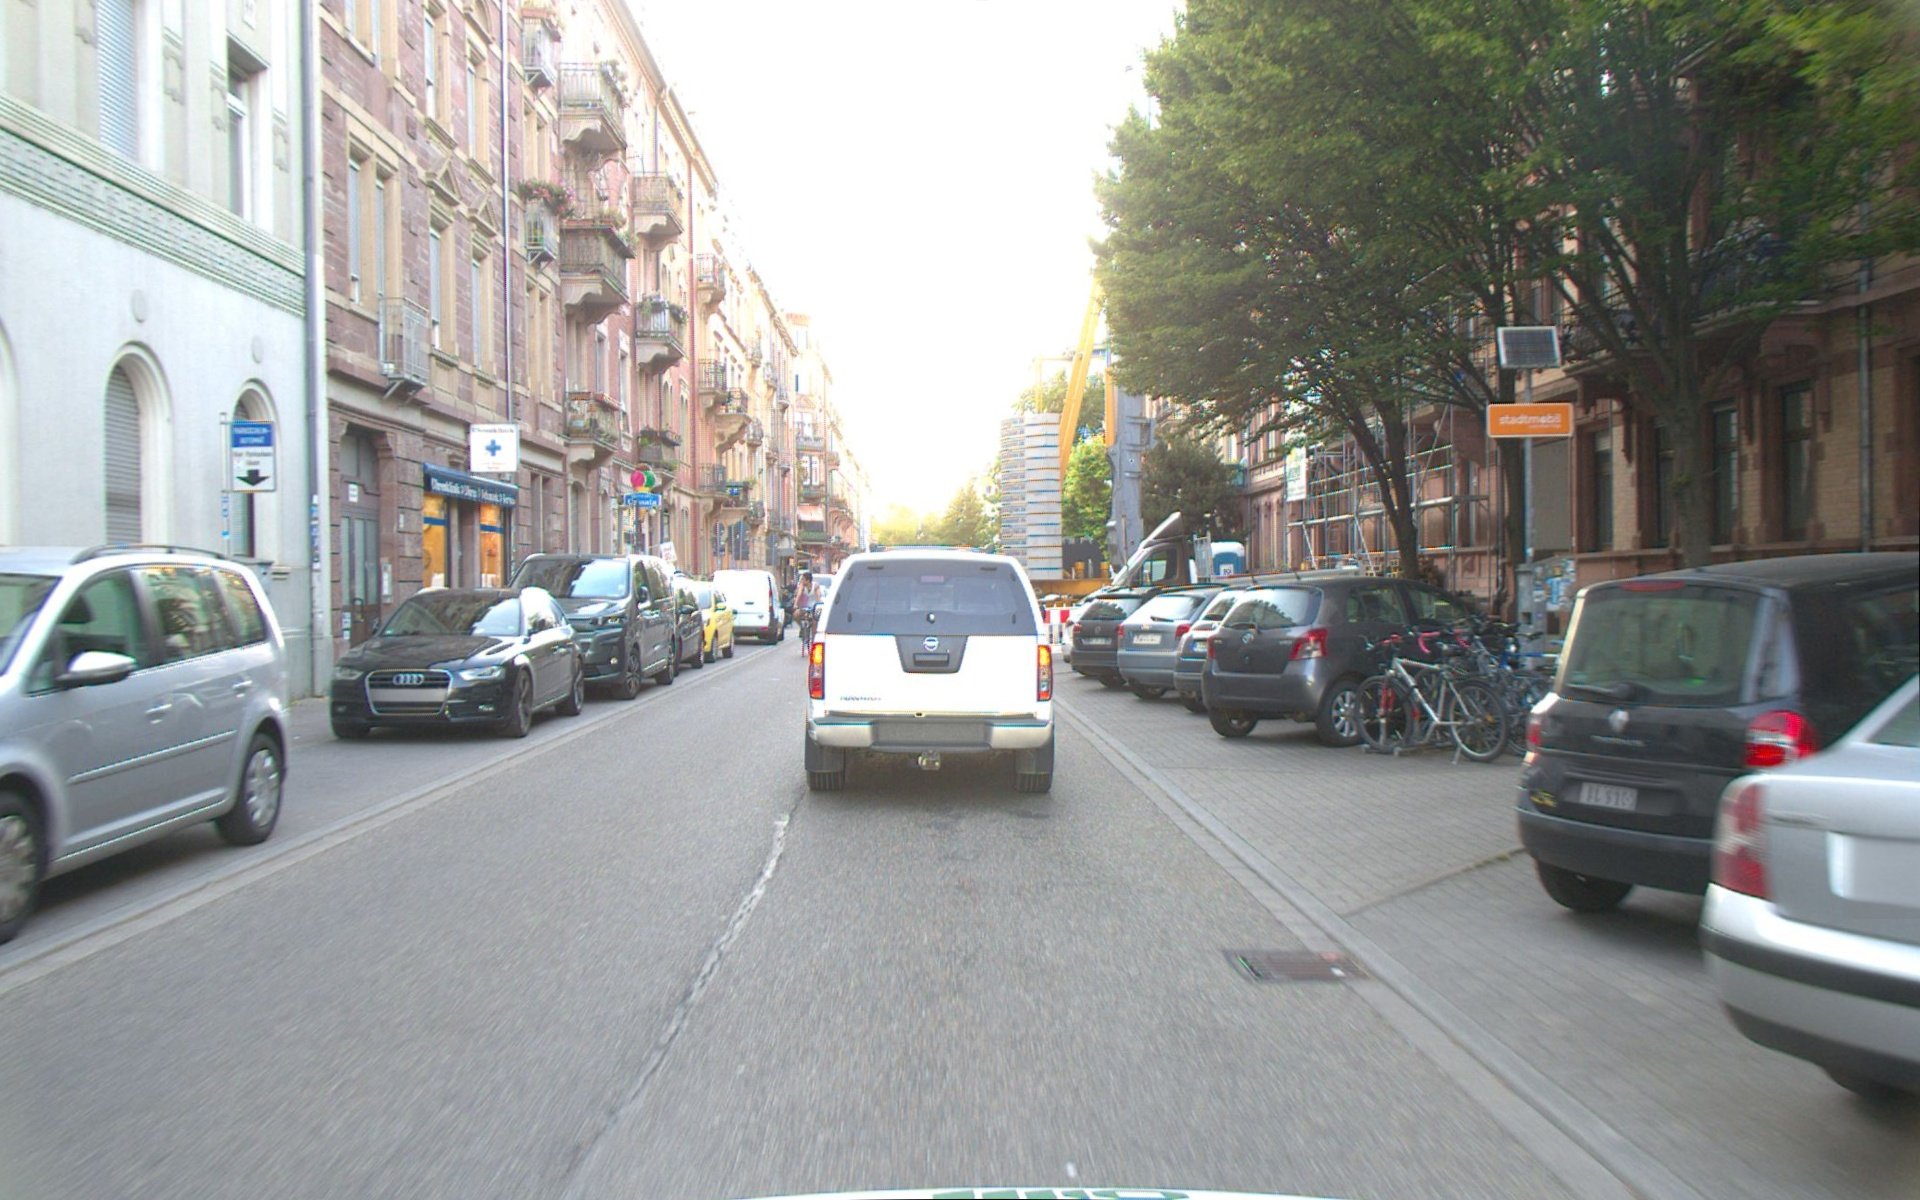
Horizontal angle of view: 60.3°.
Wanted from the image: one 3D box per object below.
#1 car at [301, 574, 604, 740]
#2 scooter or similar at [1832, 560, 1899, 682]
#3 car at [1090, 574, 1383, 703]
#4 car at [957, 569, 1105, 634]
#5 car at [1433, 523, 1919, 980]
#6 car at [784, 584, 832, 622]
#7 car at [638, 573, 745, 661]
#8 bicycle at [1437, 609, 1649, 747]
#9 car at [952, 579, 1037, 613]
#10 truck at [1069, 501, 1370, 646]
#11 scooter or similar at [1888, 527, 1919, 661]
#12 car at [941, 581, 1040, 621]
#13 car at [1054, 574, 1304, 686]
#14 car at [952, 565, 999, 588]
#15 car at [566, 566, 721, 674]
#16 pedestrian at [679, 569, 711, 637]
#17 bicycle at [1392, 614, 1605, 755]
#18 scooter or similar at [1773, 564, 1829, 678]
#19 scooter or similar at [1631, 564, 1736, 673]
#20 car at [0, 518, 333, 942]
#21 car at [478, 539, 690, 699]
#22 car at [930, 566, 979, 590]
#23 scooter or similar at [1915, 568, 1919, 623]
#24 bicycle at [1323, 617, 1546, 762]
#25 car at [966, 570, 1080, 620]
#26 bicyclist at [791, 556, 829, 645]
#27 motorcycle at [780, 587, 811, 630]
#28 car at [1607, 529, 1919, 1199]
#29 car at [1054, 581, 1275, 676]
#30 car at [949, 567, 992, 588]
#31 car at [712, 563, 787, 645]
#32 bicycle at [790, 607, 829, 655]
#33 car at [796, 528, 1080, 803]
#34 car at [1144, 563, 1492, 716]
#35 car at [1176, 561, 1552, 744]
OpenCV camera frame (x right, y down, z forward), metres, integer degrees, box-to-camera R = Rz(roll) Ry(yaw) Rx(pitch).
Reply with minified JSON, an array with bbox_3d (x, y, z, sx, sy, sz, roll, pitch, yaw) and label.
[{"bbox_3d":[-5.071,0.496,17.221,1.873,1.497,4.532,0,1,-2],"label":"car"},{"bbox_3d":[9.703,0.199,17.754,0.361,1.239,1.704,-4,0,22],"label":"scooter or similar"},{"bbox_3d":[3.752,0.453,22.193,3.796,1.461,1.740,-3,2,-37],"label":"car"},{"bbox_3d":[2.042,0.025,46.907,4.107,1.811,1.820,0,0,4],"label":"car"},{"bbox_3d":[4.359,0.494,7.632,3.931,1.665,1.747,-2,1,-22],"label":"car"},{"bbox_3d":[-6.517,0.116,71.210,1.755,1.557,3.999,0,1,-1],"label":"car"},{"bbox_3d":[-5.276,0.294,32.865,1.468,1.621,3.856,-1,1,0],"label":"car"},{"bbox_3d":[5.082,0.657,14.539,0.551,1.127,1.839,0,-1,-30],"label":"bicycle"},{"bbox_3d":[1.687,-0.190,80.774,4.108,1.650,1.820,0,0,1],"label":"car"},{"bbox_3d":[5.532,-0.519,35.959,6.191,3.029,2.264,0,-2,0],"label":"truck"},{"bbox_3d":[9.077,-0.067,14.974,0.457,1.238,1.777,-8,-1,10],"label":"scooter or similar"},{"bbox_3d":[1.295,0.026,69.476,4.108,1.650,1.820,0,0,1],"label":"car"},{"bbox_3d":[3.342,0.397,24.882,3.859,1.557,1.613,0,1,-41],"label":"car"},{"bbox_3d":[1.483,-2.267,158.424,4.493,2.215,1.820,0,0,1],"label":"car"},{"bbox_3d":[-5.360,0.297,28.483,1.866,1.692,4.068,-1,1,0],"label":"car"},{"bbox_3d":[-7.449,0.083,46.461,0.603,1.902,0.740,0,0,21],"label":"pedestrian"},{"bbox_3d":[4.584,0.692,14.216,0.551,1.127,1.839,0,-1,-30],"label":"bicycle"},{"bbox_3d":[9.686,0.218,19.078,0.361,1.239,1.620,-4,0,22],"label":"scooter or similar"},{"bbox_3d":[9.098,0.215,20.841,0.502,1.262,1.350,-9,1,-3],"label":"scooter or similar"},{"bbox_3d":[-4.703,0.494,7.803,1.953,1.619,4.312,-1,1,-2],"label":"car"},{"bbox_3d":[-5.004,0.210,22.728,1.866,1.959,4.946,0,1,-1],"label":"car"},{"bbox_3d":[-0.487,-2.023,154.837,4.493,2.215,1.820,0,0,1],"label":"car"},{"bbox_3d":[10.141,0.275,16.475,0.403,1.239,1.777,-5,0,10],"label":"scooter or similar"},{"bbox_3d":[3.954,0.715,13.921,0.685,1.127,1.839,0,-1,-30],"label":"bicycle"},{"bbox_3d":[2.308,-0.195,60.988,4.108,1.811,1.820,0,0,1],"label":"car"},{"bbox_3d":[-3.236,0.003,35.702,0.784,1.882,0.943,0,0,-4],"label":"bicyclist"},{"bbox_3d":[-5.692,0.278,57.319,0.819,1.440,2.548,0,1,0],"label":"motorcycle"},{"bbox_3d":[4.078,0.572,4.772,4.324,1.561,1.790,-1,1,-29],"label":"car"},{"bbox_3d":[3.444,0.434,27.741,3.515,1.490,1.593,0,1,-33],"label":"car"},{"bbox_3d":[1.110,-2.326,172.143,4.493,2.215,1.820,0,0,1],"label":"car"},{"bbox_3d":[-5.334,0.075,42.252,1.528,1.954,3.855,1,1,-2],"label":"car"},{"bbox_3d":[-3.239,0.659,35.641,0.784,0.963,2.003,0,1,-4],"label":"bicycle"},{"bbox_3d":[-0.175,0.417,13.451,1.894,1.826,4.621,1,1,-1],"label":"car"},{"bbox_3d":[4.264,0.412,19.647,3.780,1.557,1.747,-2,1,-27],"label":"car"},{"bbox_3d":[3.987,0.433,16.231,3.365,1.500,1.755,-3,2,-33],"label":"car"}]
